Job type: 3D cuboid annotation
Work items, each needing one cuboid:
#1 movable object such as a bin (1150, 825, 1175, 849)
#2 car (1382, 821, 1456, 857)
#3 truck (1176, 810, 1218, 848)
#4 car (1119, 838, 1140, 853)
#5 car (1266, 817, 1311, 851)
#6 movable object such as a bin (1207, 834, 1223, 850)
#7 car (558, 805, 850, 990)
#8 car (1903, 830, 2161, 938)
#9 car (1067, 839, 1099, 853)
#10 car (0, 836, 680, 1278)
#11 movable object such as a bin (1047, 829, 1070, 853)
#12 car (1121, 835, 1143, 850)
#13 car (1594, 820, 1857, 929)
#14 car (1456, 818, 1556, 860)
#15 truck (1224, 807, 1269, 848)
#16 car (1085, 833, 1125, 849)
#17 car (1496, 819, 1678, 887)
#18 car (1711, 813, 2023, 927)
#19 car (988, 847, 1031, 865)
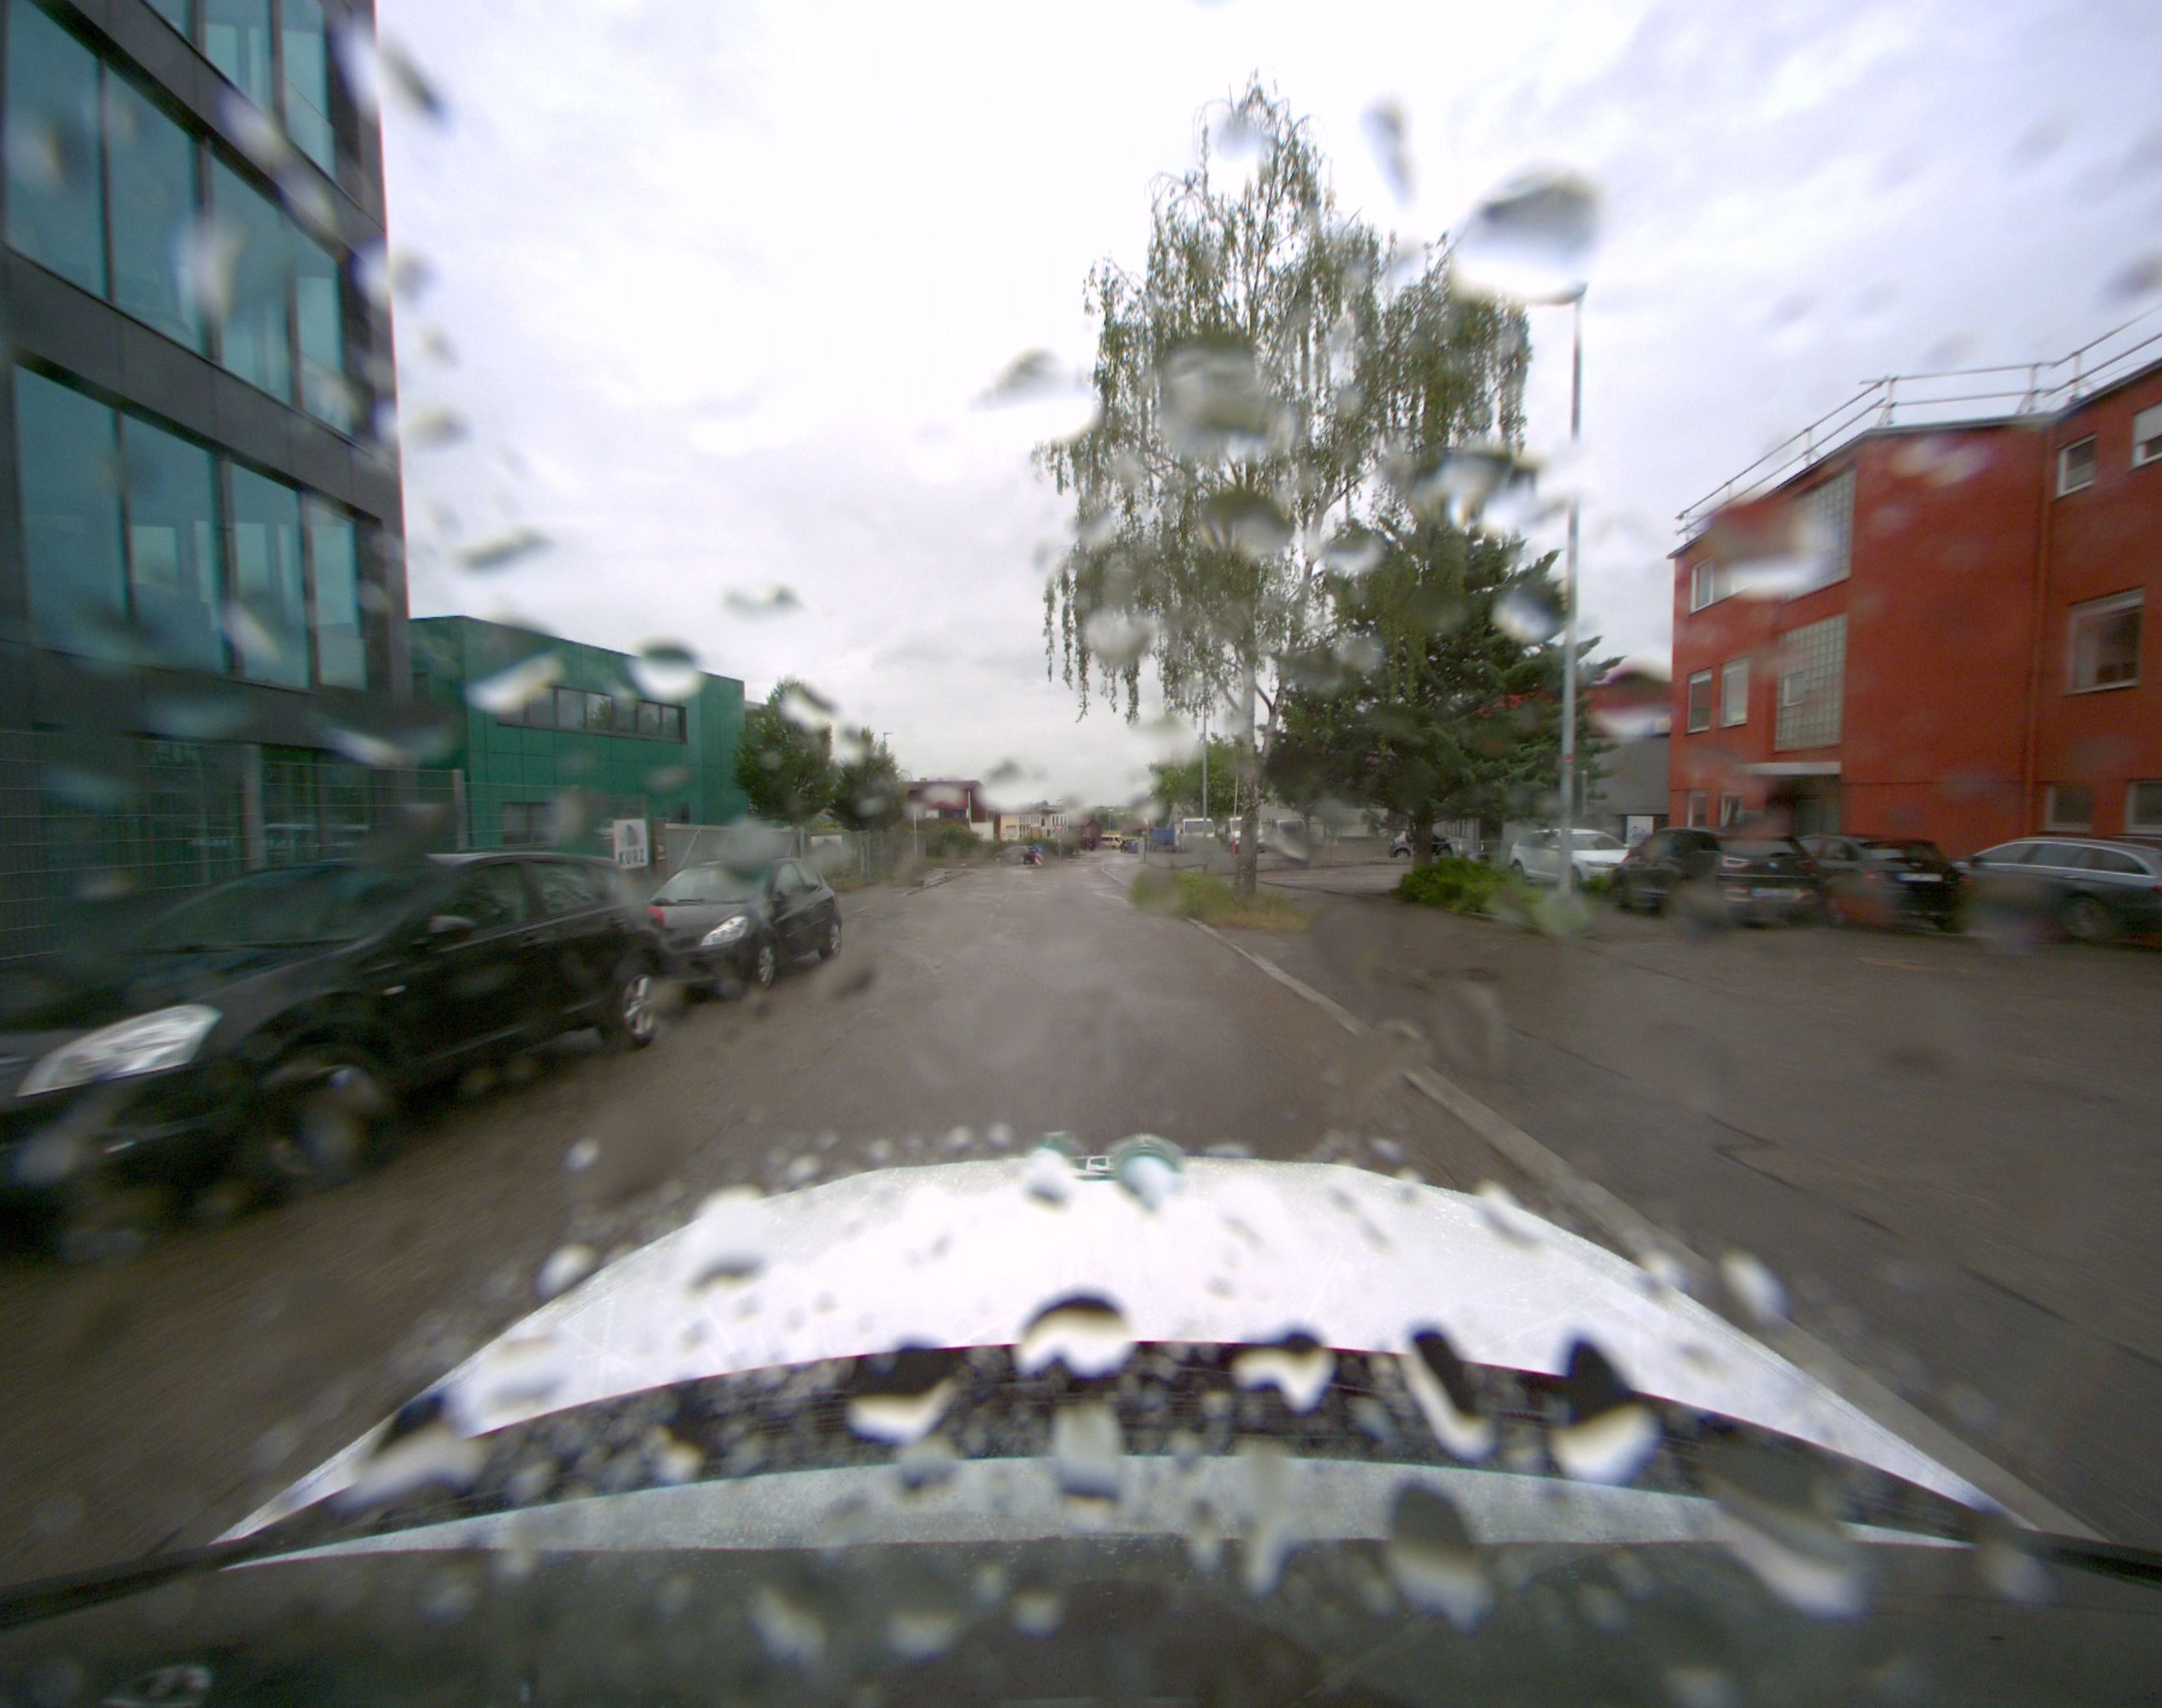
[{"bbox_3d":[5.339,-1.119,53.642,1.305,1.500,1.855,-1,0,-6],"label":"movable object such as a bin"},{"bbox_3d":[14.873,-0.654,35.928,2.695,1.446,1.683,-2,0,11],"label":"car"},{"bbox_3d":[7.189,-1.498,51.064,2.097,2.214,5.657,-1,0,3],"label":"truck"},{"bbox_3d":[6.125,-1.097,103.340,2.070,1.834,4.465,-1,0,-4],"label":"car"},{"bbox_3d":[12.937,-1.216,51.044,2.045,2.013,4.948,-1,0,7],"label":"car"},{"bbox_3d":[9.161,-0.798,55.741,1.043,1.042,0.886,-1,0,10],"label":"movable object such as a bin"},{"bbox_3d":[-4.292,0.411,10.051,1.734,1.797,3.958,-1,0,0],"label":"car"},{"bbox_3d":[15.933,0.389,12.938,1.955,1.449,4.529,1,1,14],"label":"car"},{"bbox_3d":[0.254,-1.159,115.347,4.354,1.905,2.012,-1,0,43],"label":"car"},{"bbox_3d":[-4.275,0.710,4.924,1.627,1.558,4.083,-2,1,0],"label":"car"},{"bbox_3d":[-2.534,-1.442,91.919,1.720,2.556,3.353,-1,0,15],"label":"movable object such as a bin"},{"bbox_3d":[6.050,-1.356,97.349,1.948,1.610,4.439,-1,0,-5],"label":"car"},{"bbox_3d":[10.999,0.261,14.386,1.981,1.579,4.530,1,1,15],"label":"car"},{"bbox_3d":[16.298,-0.570,31.339,3.017,1.495,1.634,-2,1,8],"label":"car"},{"bbox_3d":[10.186,-1.592,50.505,2.231,2.341,4.845,1,1,6],"label":"truck"},{"bbox_3d":[3.900,-2.160,132.978,5.958,2.415,2.476,-1,0,21],"label":"car"},{"bbox_3d":[12.494,-0.050,20.478,1.897,1.470,4.329,-2,1,0],"label":"car"},{"bbox_3d":[13.345,0.213,14.311,1.975,1.678,4.529,-1,1,14],"label":"car"},{"bbox_3d":[-6.479,0.198,73.301,1.771,1.534,3.951,-1,1,-44],"label":"car"}]
